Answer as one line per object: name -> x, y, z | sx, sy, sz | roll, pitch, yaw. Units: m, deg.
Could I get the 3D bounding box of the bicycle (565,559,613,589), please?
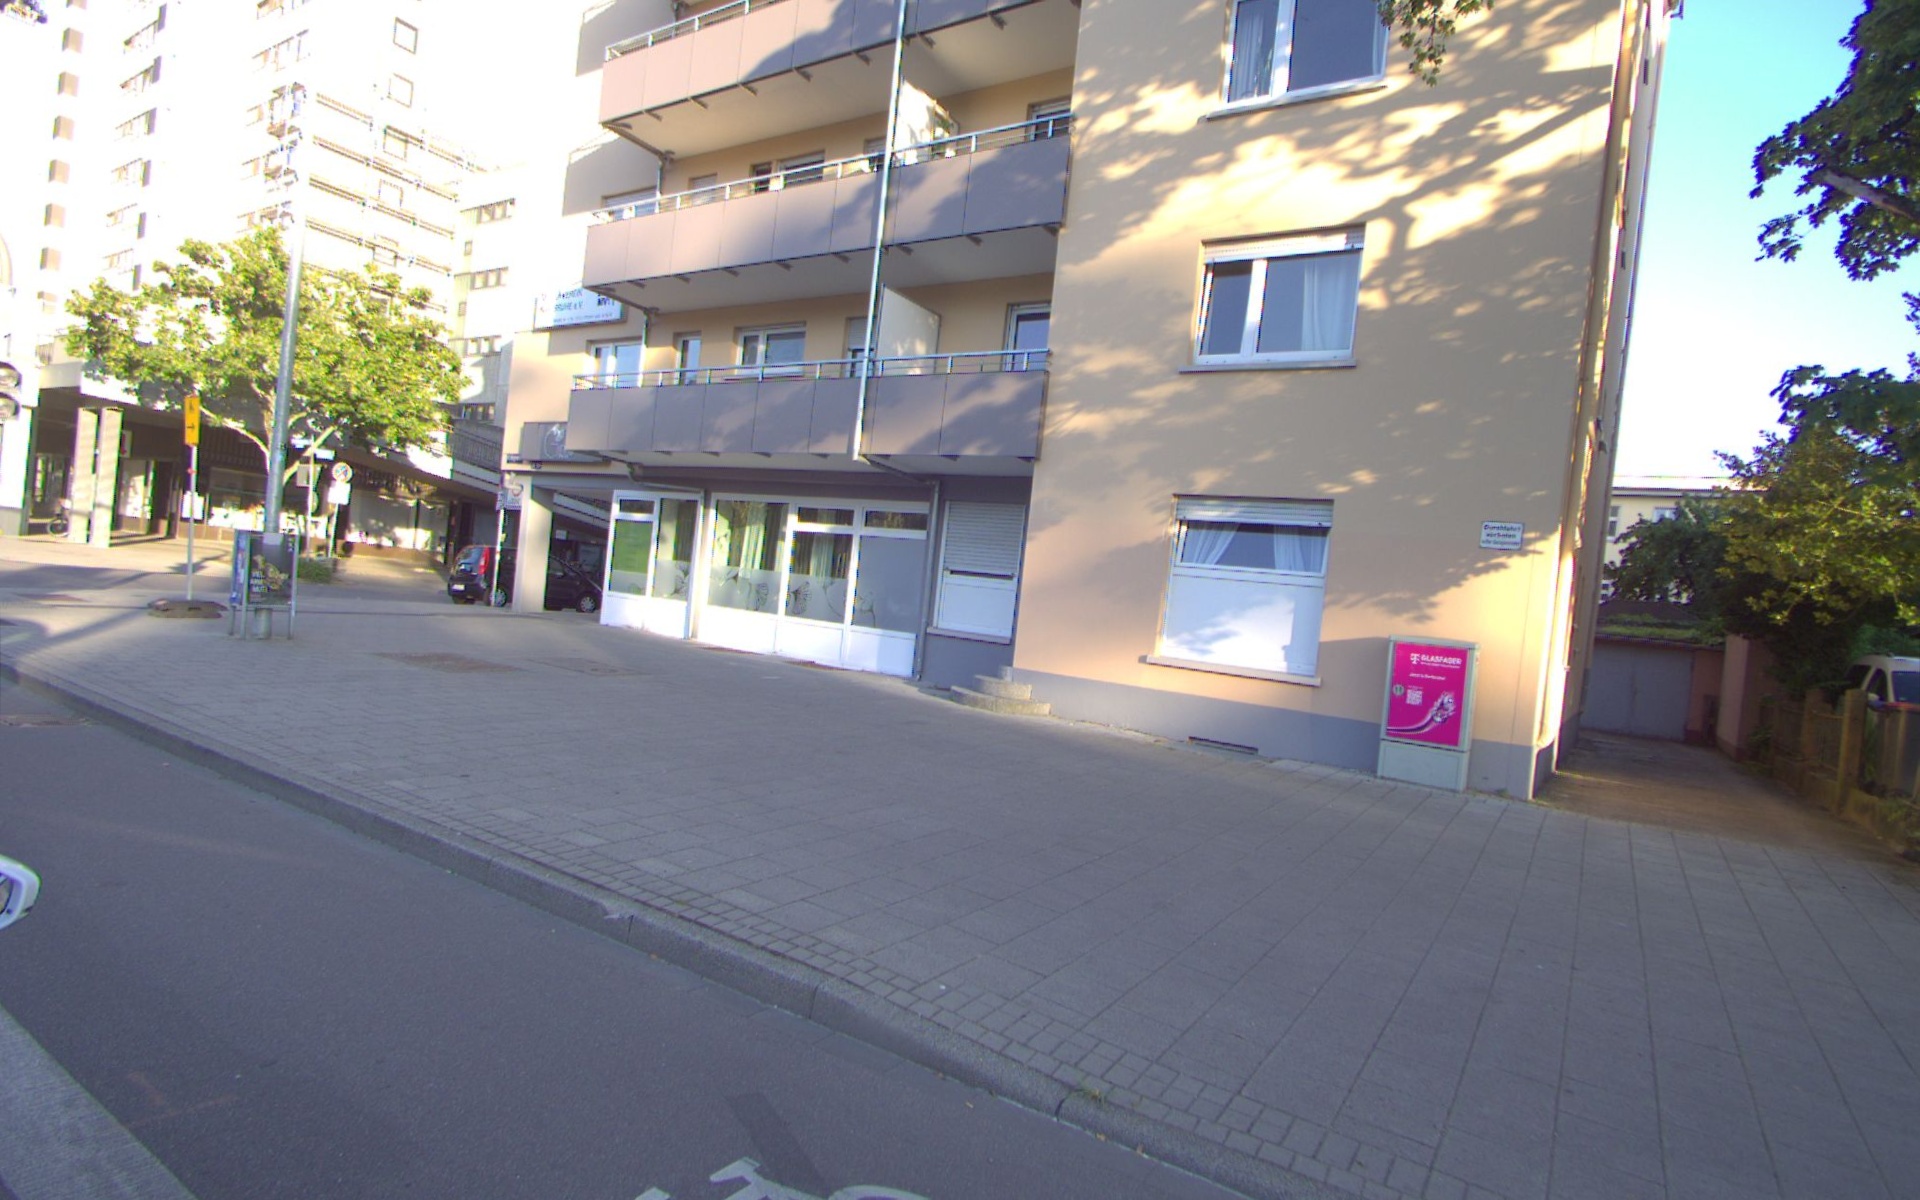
bicycle -> -17.005, -1.196, 46.100 | 1.939, 1.087, 0.584 | 7, -2, 13

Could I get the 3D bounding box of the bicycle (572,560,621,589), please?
bicycle -> -16.814, -1.166, 46.543 | 1.939, 1.086, 0.584 | 7, -2, 9

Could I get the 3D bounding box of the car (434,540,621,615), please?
car -> -10.878, -0.524, 25.552 | 1.680, 1.605, 4.037 | 3, -1, 36

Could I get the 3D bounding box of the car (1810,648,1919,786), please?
car -> 14.580, 1.743, 14.966 | 1.794, 1.780, 4.513 | 8, 2, 27

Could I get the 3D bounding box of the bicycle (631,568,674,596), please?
bicycle -> -14.967, -0.880, 48.934 | 1.941, 1.087, 0.583 | 6, -2, 21

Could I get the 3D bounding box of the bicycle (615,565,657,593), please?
bicycle -> -15.392, -1.014, 47.746 | 1.942, 1.087, 0.583 | 6, -3, 26

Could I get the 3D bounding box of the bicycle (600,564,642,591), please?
bicycle -> -15.966, -1.060, 47.393 | 1.943, 1.086, 0.582 | 6, -3, 29

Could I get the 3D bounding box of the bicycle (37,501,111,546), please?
bicycle -> -28.975, -2.502, 32.909 | 1.984, 1.162, 0.692 | 7, -2, 14

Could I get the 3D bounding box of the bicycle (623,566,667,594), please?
bicycle -> -15.145, -0.955, 48.313 | 1.941, 1.087, 0.583 | 6, -2, 21

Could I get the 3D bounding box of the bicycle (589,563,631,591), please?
bicycle -> -16.331, -1.095, 46.955 | 1.943, 1.086, 0.582 | 6, -3, 29

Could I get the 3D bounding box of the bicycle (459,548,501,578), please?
bicycle -> -20.195, -1.562, 42.331 | 1.946, 1.086, 0.581 | 5, -3, 35
